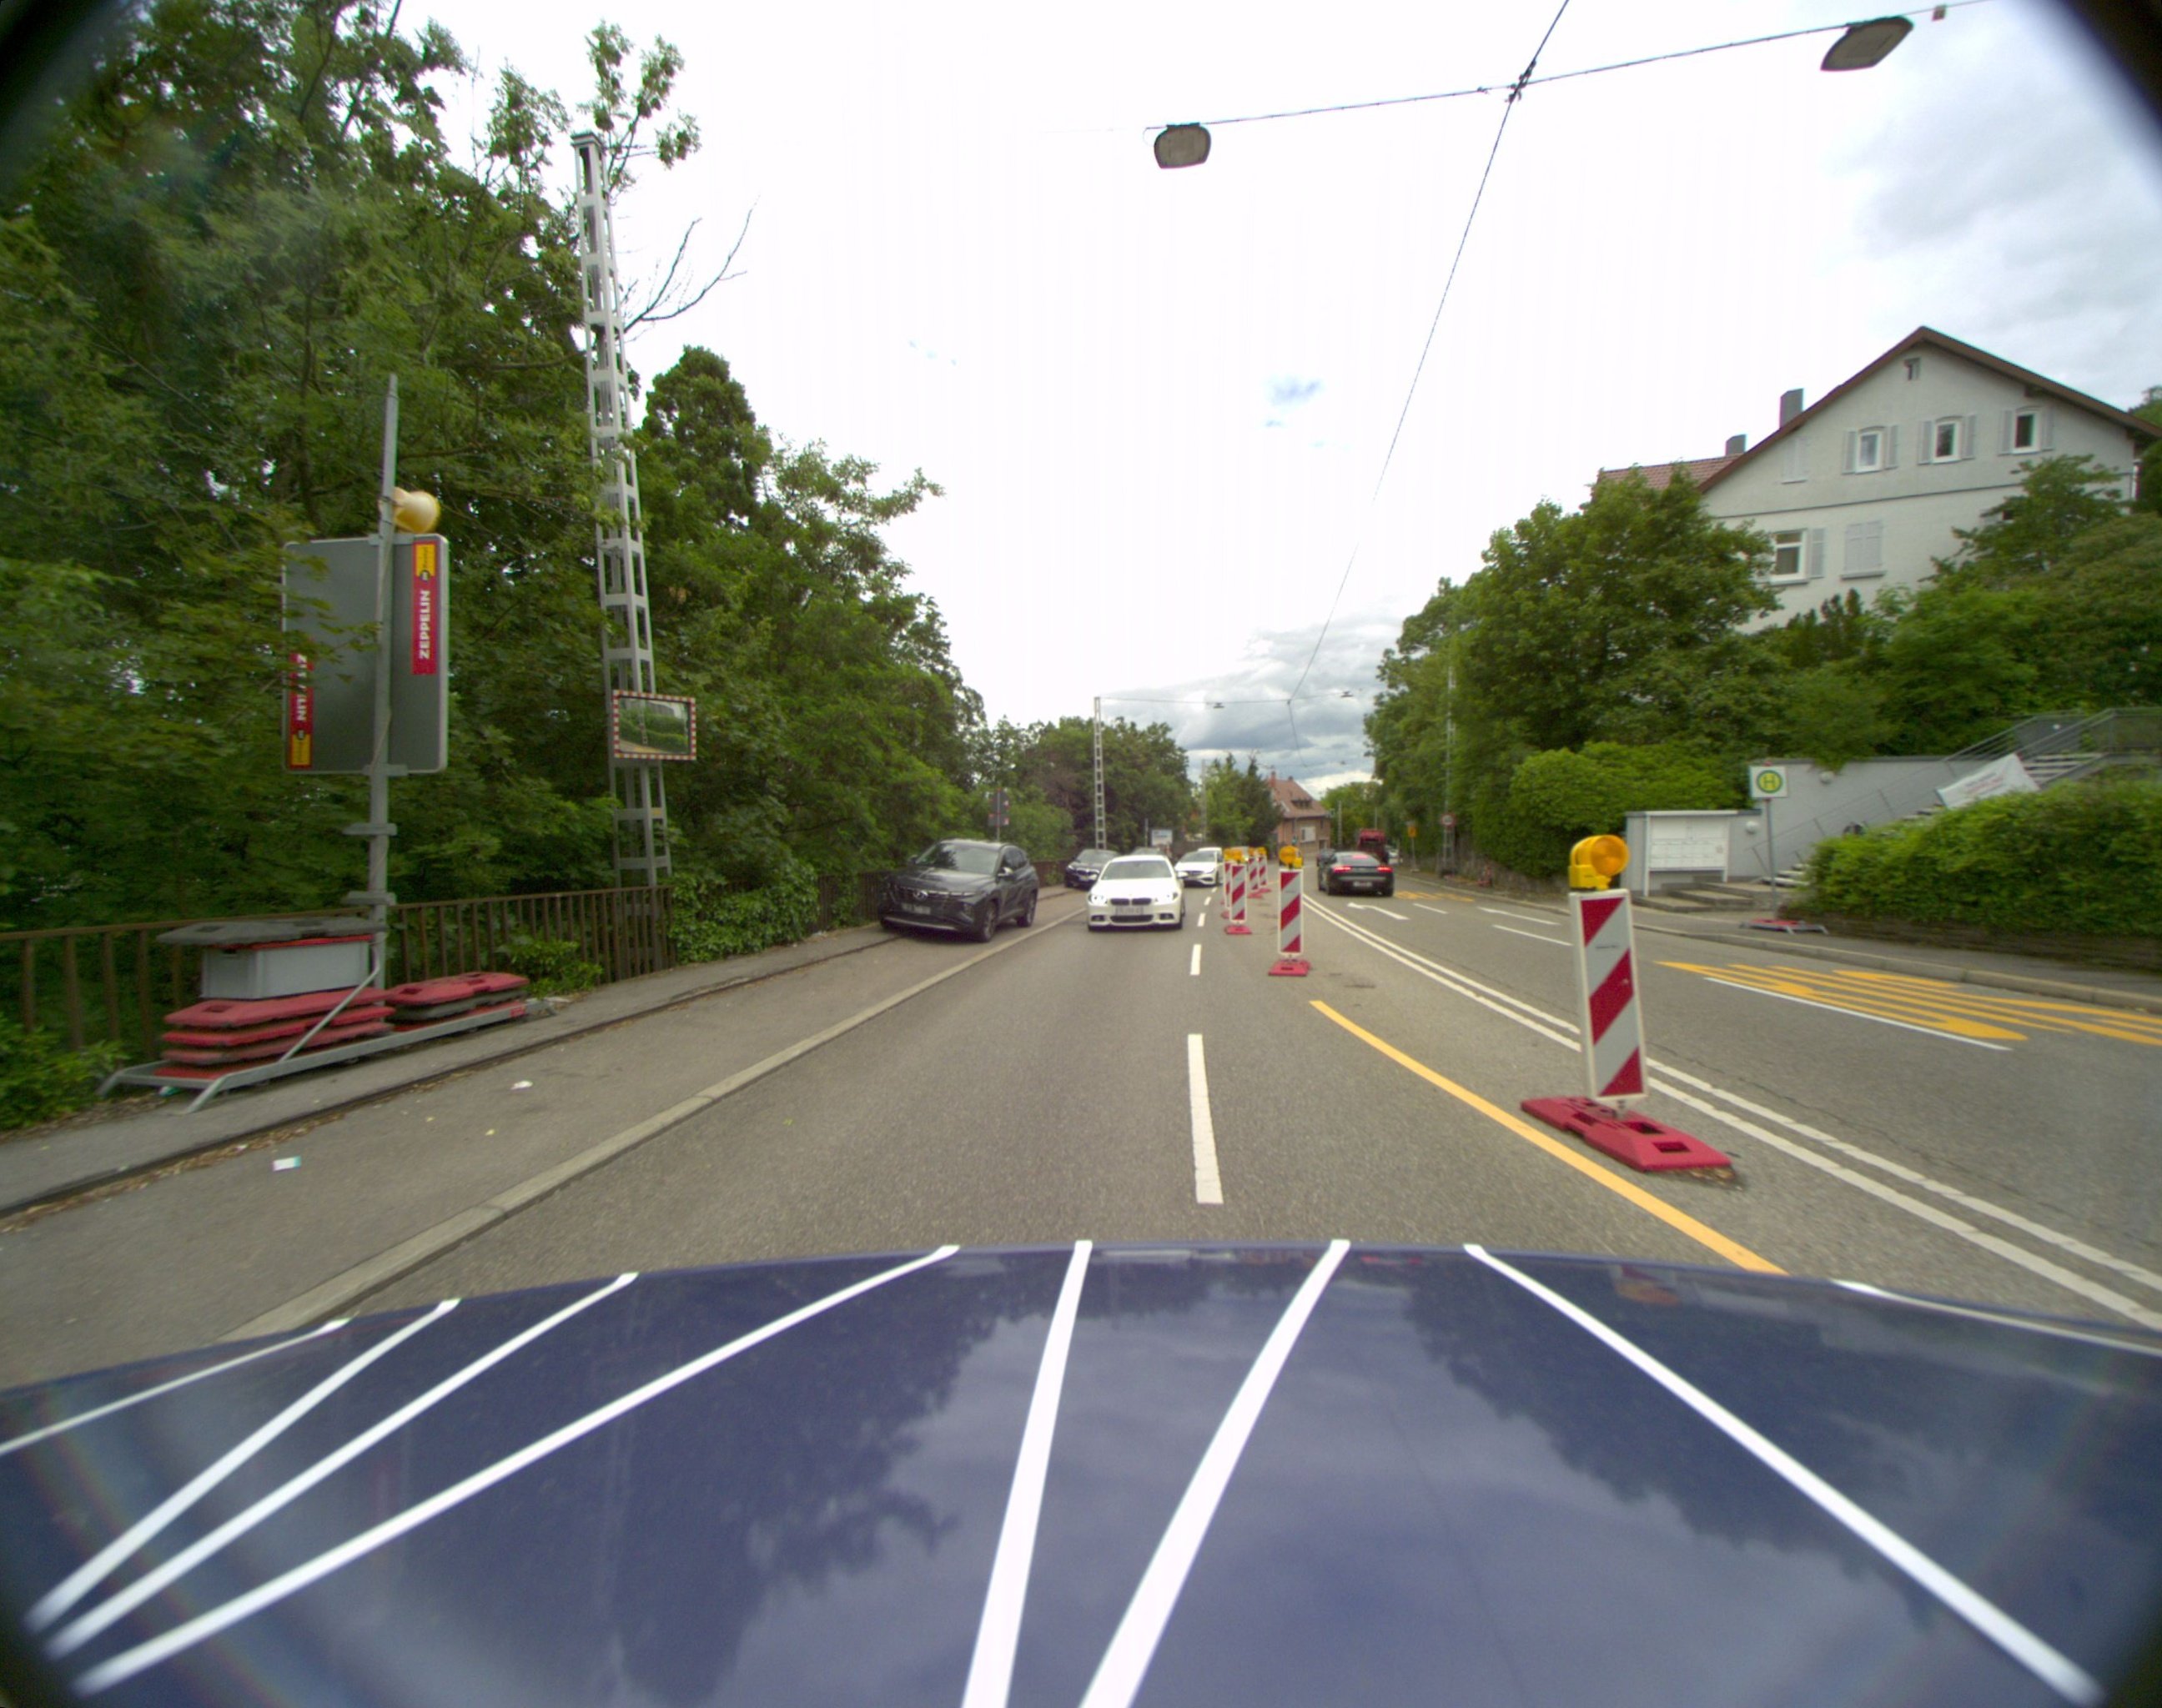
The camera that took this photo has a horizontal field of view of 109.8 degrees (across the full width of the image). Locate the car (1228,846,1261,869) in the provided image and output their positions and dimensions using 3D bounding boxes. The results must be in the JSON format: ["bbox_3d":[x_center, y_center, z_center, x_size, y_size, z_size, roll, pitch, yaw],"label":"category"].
[{"bbox_3d":[10.959,0.195,50.822,1.796,1.501,4.005,1,1,17],"label":"car"}]

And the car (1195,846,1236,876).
[{"bbox_3d":[7.441,0.367,41.734,1.790,1.542,4.249,-1,0,15],"label":"car"}]

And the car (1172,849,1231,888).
[{"bbox_3d":[5.038,0.554,31.357,1.789,1.472,4.250,-1,0,18],"label":"car"}]

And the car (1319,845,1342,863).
[{"bbox_3d":[20.753,-0.027,63.202,1.715,1.453,4.005,1,1,20],"label":"car"}]

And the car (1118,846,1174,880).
[{"bbox_3d":[3.397,0.413,38.992,1.855,1.525,4.237,2,2,18],"label":"car"}]

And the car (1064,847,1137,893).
[{"bbox_3d":[0.813,0.539,28.267,1.856,1.428,4.235,5,2,12],"label":"car"}]

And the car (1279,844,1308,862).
[{"bbox_3d":[18.756,-0.089,66.943,1.789,1.472,4.252,-1,0,25],"label":"car"}]

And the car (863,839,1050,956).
[{"bbox_3d":[-2.050,0.643,13.920,1.856,1.664,4.282,5,2,12],"label":"car"}]

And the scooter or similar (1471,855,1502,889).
[{"bbox_3d":[14.737,0.641,27.656,0.429,1.202,1.282,-3,1,3],"label":"scooter or similar"}]

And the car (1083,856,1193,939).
[{"bbox_3d":[1.345,0.811,16.057,1.790,1.472,4.248,-1,0,11],"label":"car"}]

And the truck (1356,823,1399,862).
[{"bbox_3d":[30.516,-1.160,77.906,2.861,3.677,9.675,3,2,28],"label":"truck"}]

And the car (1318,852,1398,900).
[{"bbox_3d":[8.995,0.645,25.010,1.824,1.383,4.441,1,1,12],"label":"car"}]
